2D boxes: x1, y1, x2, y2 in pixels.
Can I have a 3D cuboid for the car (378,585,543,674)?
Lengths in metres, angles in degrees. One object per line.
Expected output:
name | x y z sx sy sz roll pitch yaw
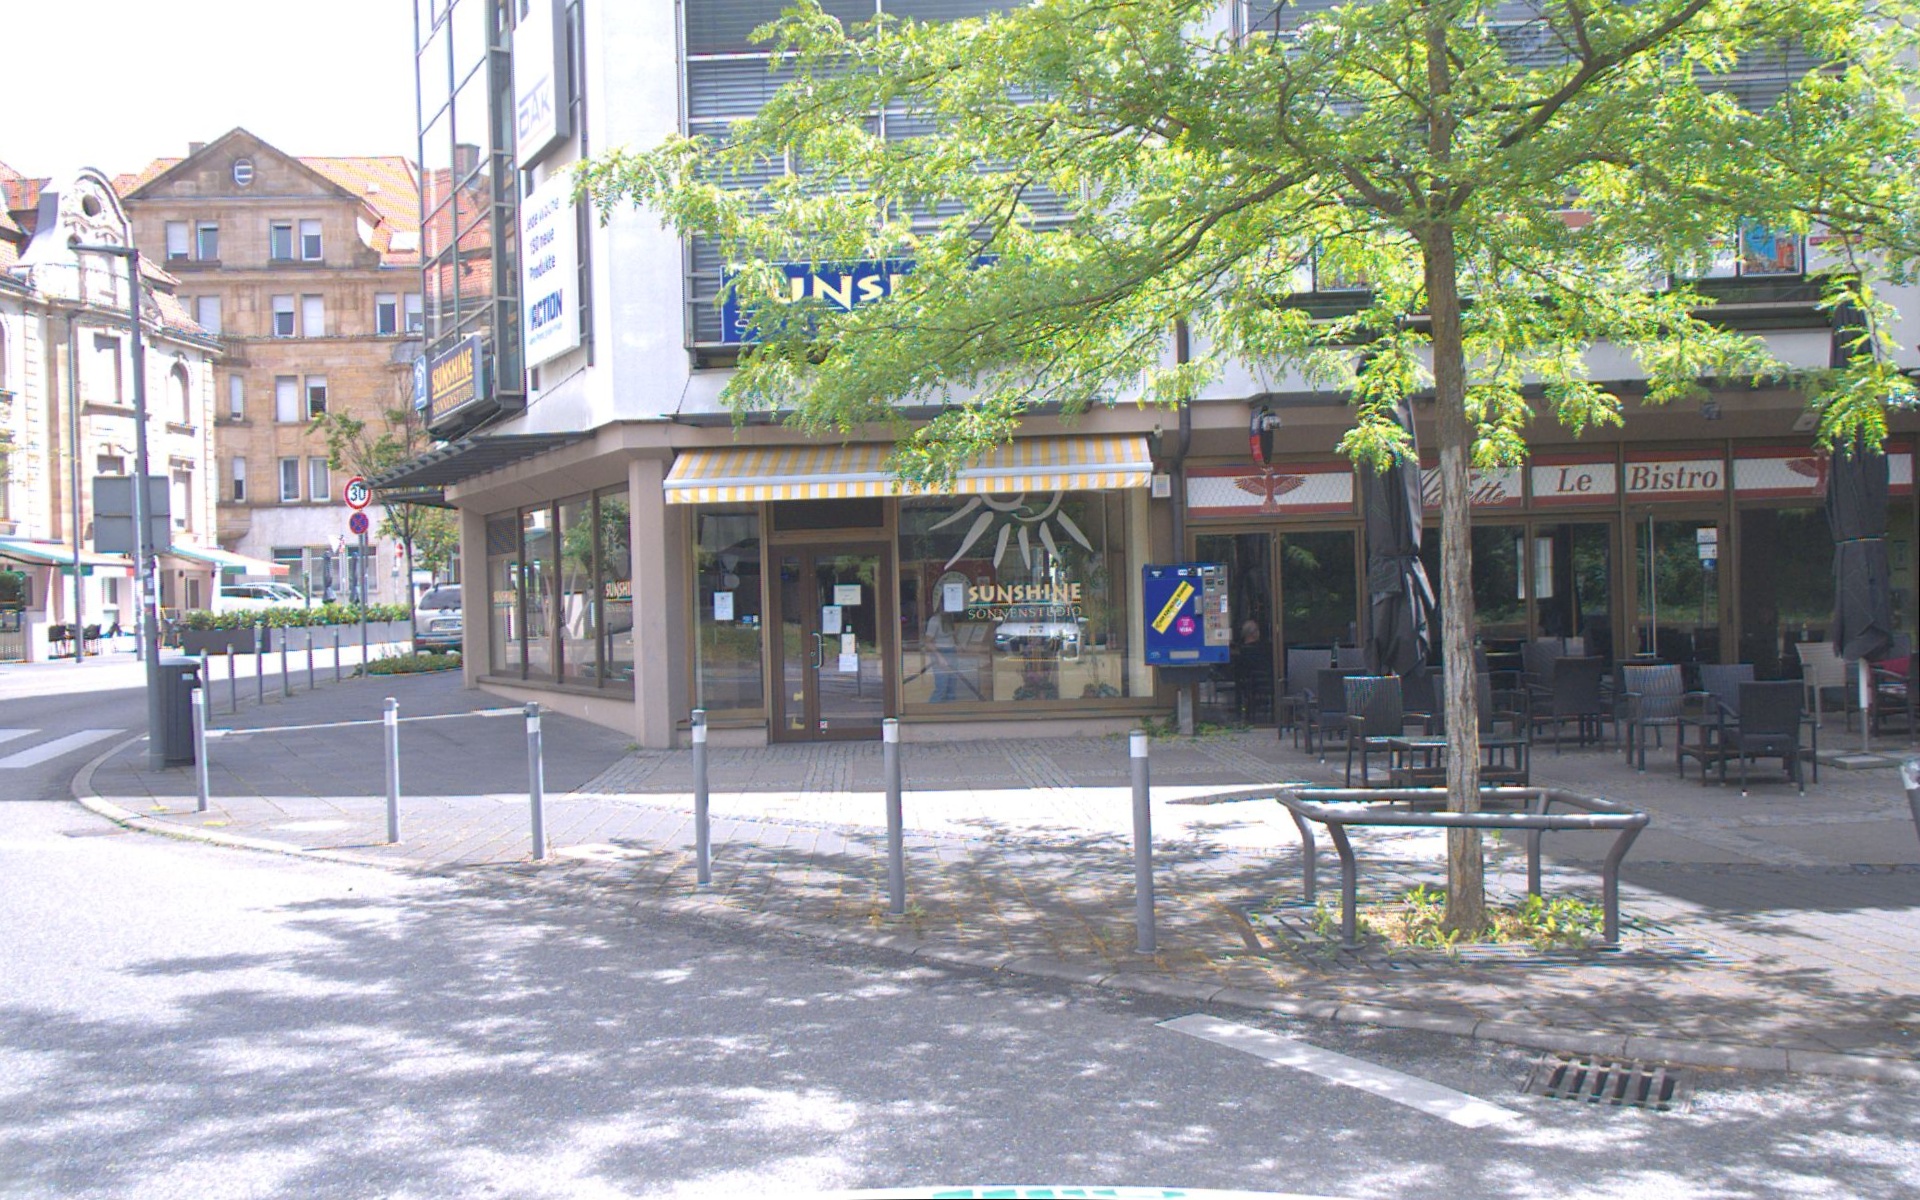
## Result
car | -10.867 0.590 36.304 1.785 1.761 4.236 -2 0 8

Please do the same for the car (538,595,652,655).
car | -10.482 0.686 47.823 1.785 1.545 4.236 -2 0 8

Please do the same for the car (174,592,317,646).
car | -25.462 0.669 59.080 4.340 1.806 1.995 -1 0 -11
